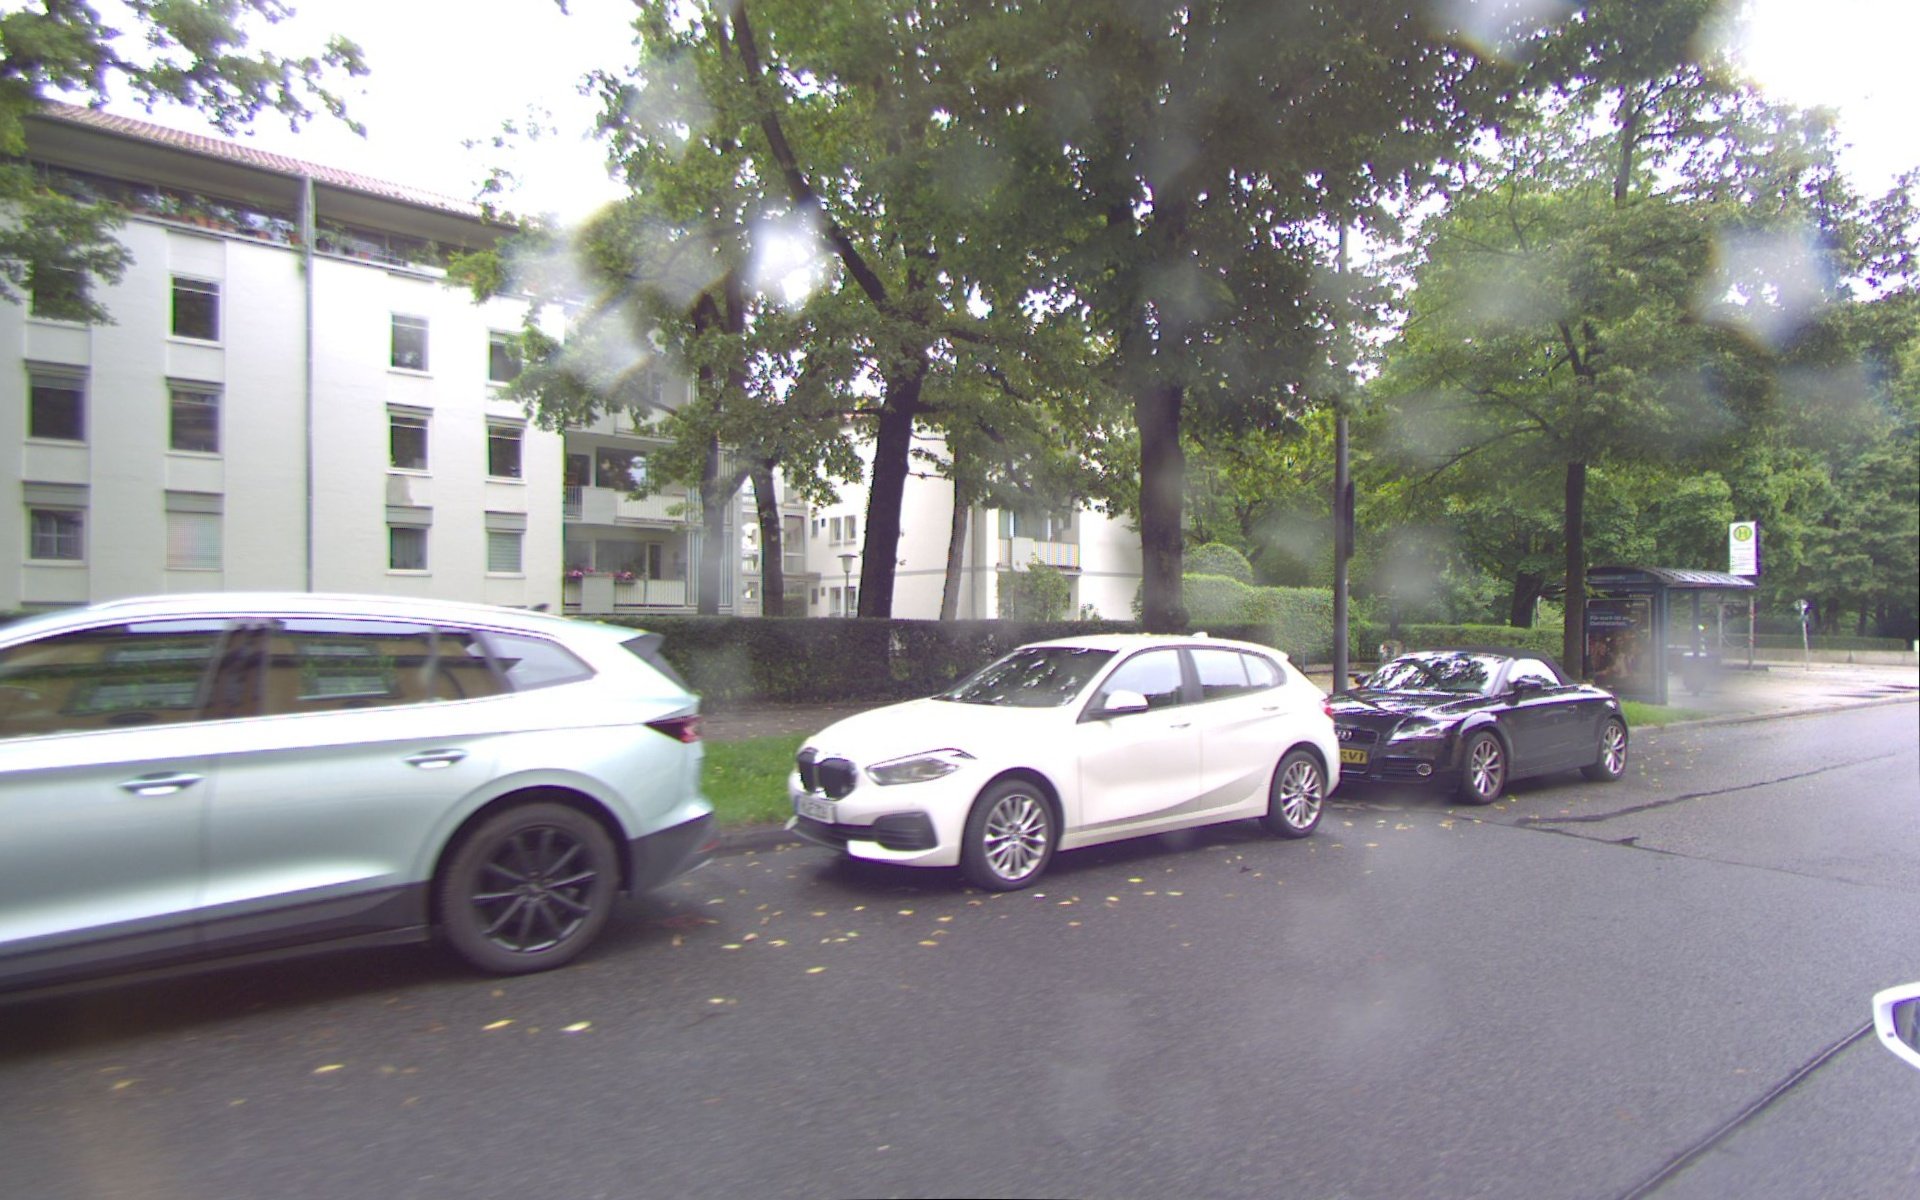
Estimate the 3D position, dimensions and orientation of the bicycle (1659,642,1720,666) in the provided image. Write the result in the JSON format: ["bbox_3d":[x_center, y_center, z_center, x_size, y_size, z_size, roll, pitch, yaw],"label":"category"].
[{"bbox_3d":[31.767,2.333,43.757,2.072,1.004,0.680,0,-2,30],"label":"bicycle"}]

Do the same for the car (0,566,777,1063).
[{"bbox_3d":[-3.224,0.730,4.335,4.469,1.622,1.803,2,-2,-36],"label":"car"}]

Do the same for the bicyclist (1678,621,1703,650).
[{"bbox_3d":[31.819,1.552,43.756,0.839,1.274,0.524,0,-2,29],"label":"bicyclist"}]

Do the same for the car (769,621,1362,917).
[{"bbox_3d":[0.911,0.930,7.027,4.158,1.517,1.567,2,-2,-36],"label":"car"}]

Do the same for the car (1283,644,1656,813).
[{"bbox_3d":[5.161,1.129,10.014,4.002,1.360,1.568,2,-2,-34],"label":"car"}]
